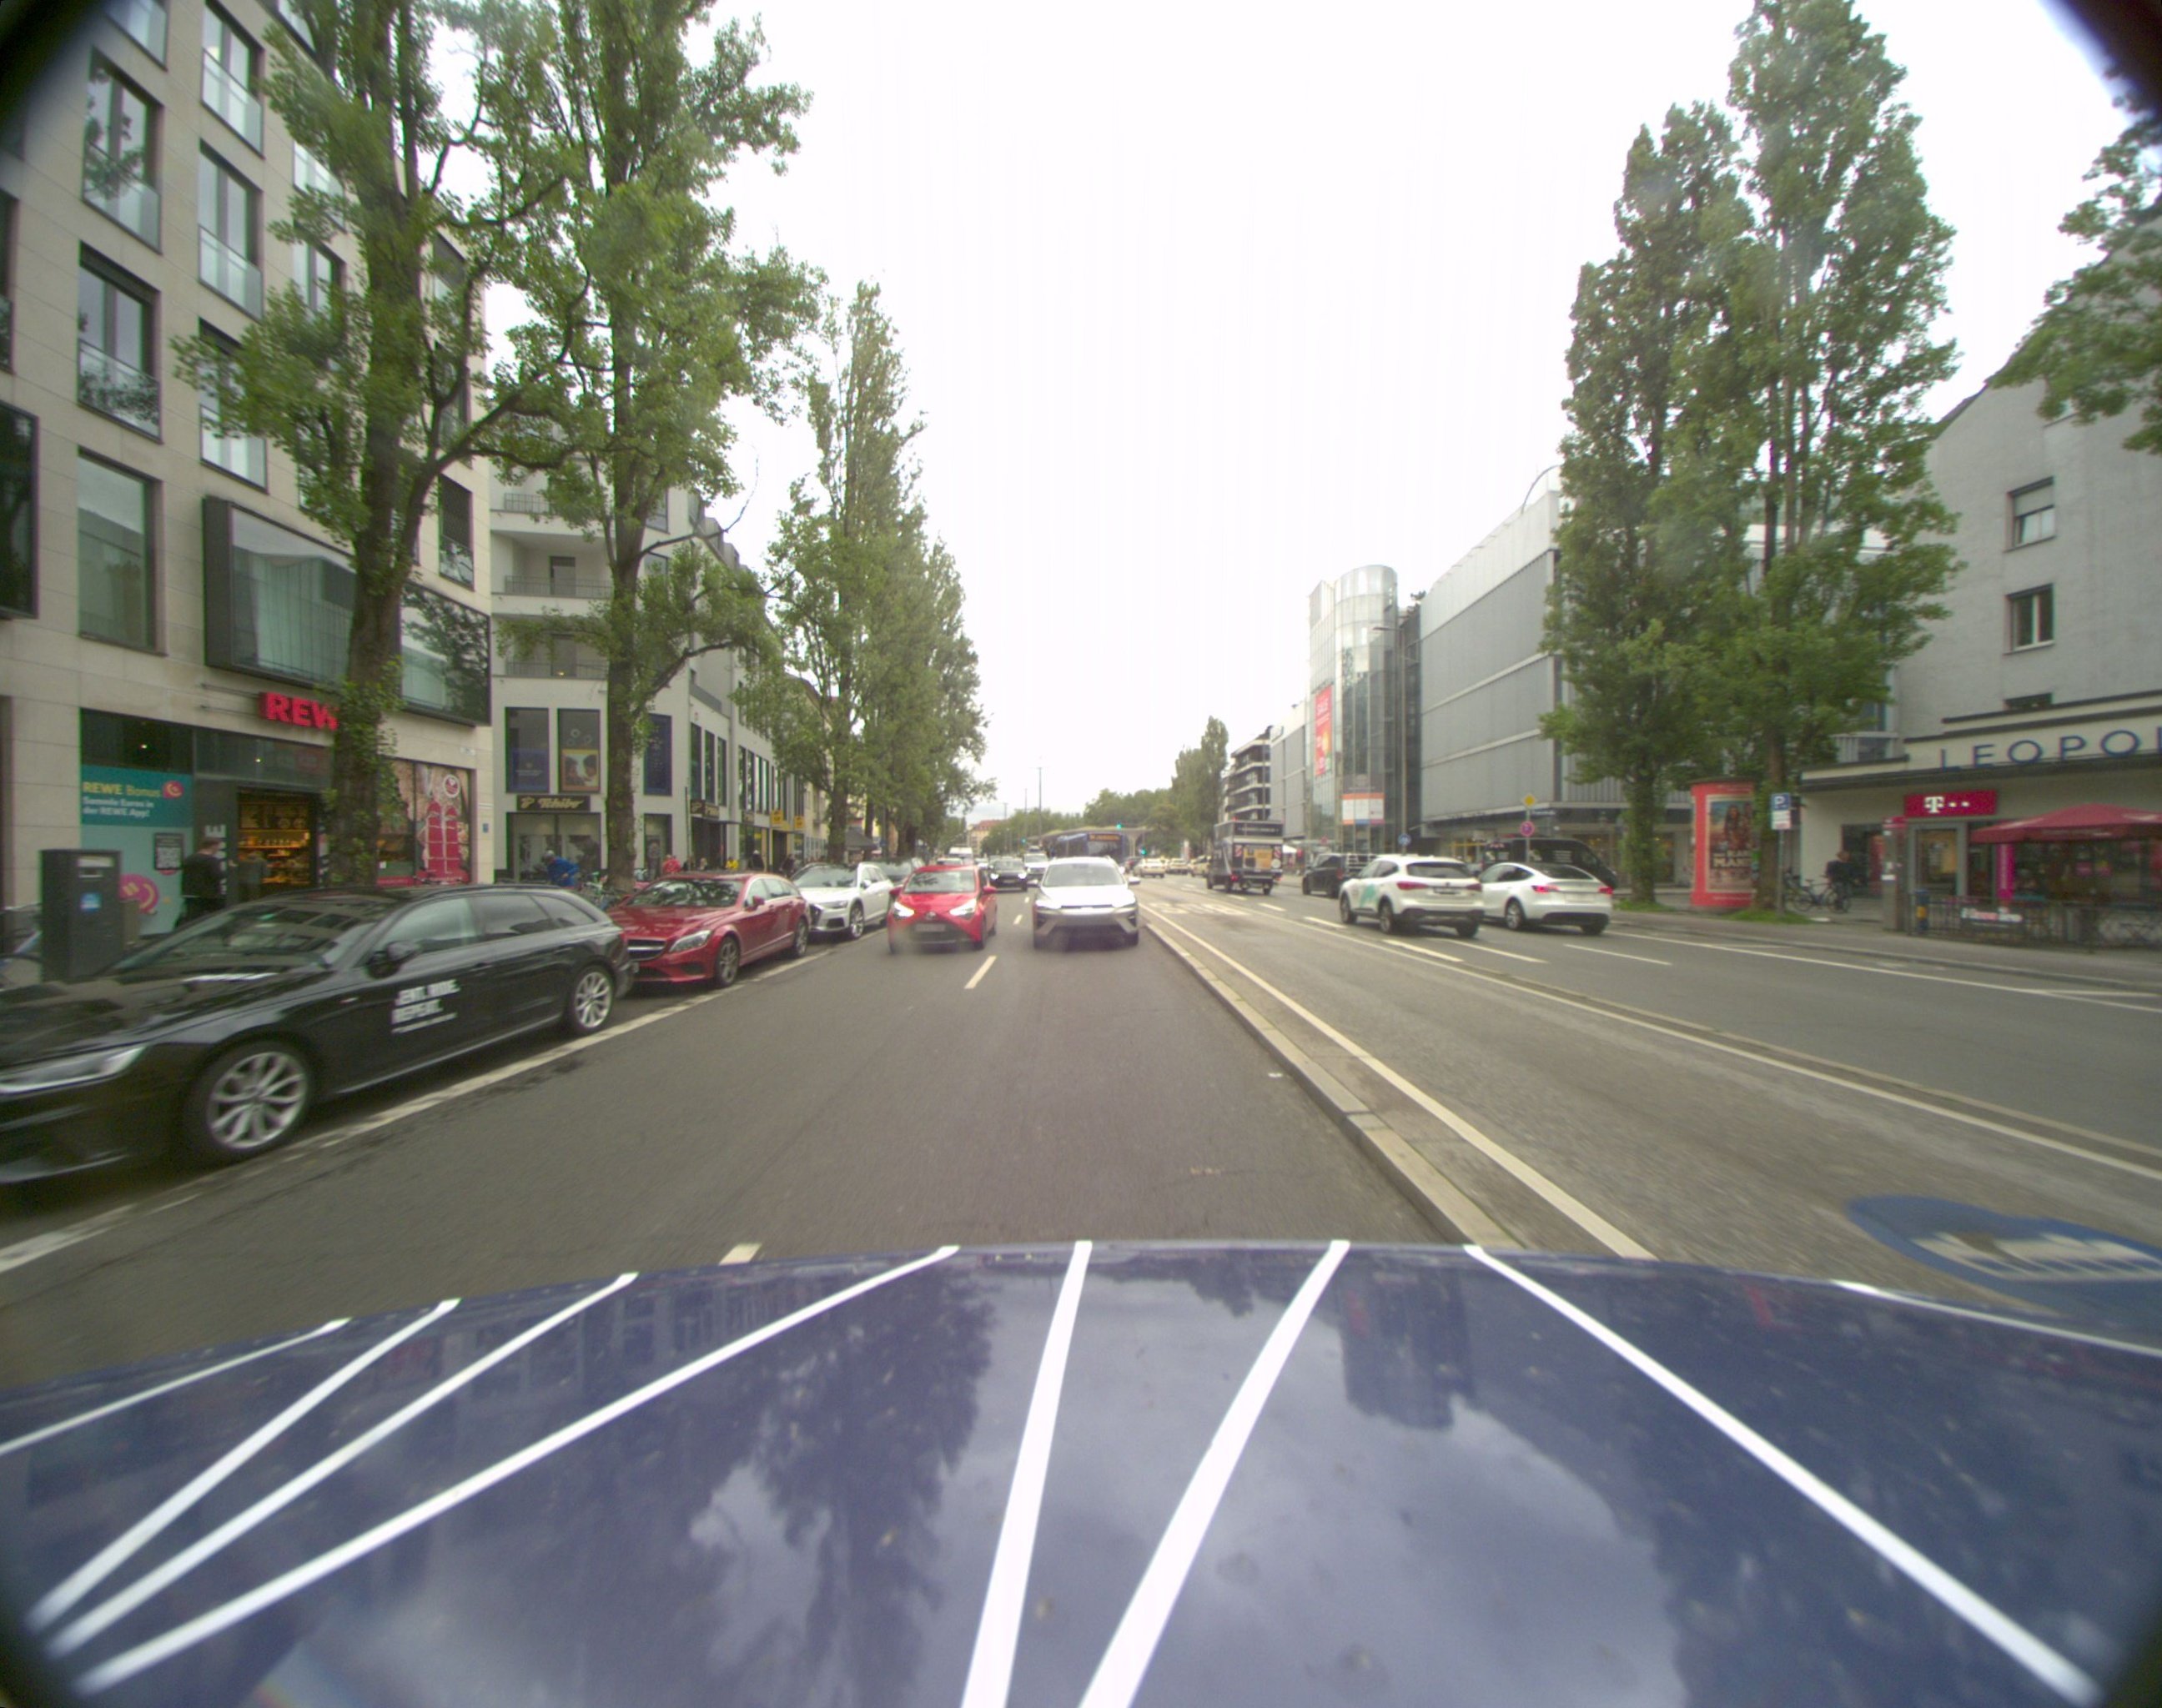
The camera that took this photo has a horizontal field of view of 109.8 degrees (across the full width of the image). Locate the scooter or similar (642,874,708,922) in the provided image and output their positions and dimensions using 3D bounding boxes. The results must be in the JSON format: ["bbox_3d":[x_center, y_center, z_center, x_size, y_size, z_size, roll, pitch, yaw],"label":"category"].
[{"bbox_3d":[-10.110,1.095,18.949,1.439,1.194,0.311,0,0,-6],"label":"scooter or similar"}]

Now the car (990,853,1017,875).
[{"bbox_3d":[-6.789,0.858,66.071,2.000,1.740,3.996,-2,1,-9],"label":"car"}]

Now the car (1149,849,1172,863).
[{"bbox_3d":[9.558,0.227,91.454,1.592,1.602,4.472,0,0,-10],"label":"car"}]

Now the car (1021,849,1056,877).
[{"bbox_3d":[-3.061,0.586,54.041,2.000,1.889,4.231,-2,1,-9],"label":"car"}]

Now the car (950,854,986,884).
[{"bbox_3d":[-7.338,0.924,49.682,1.935,1.794,4.777,-2,0,-5],"label":"car"}]

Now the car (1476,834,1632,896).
[{"bbox_3d":[20.851,0.473,33.572,6.066,2.590,2.174,0,0,-13],"label":"car"}]

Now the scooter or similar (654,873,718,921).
[{"bbox_3d":[-9.979,1.088,19.212,1.439,1.194,0.311,0,0,-6],"label":"scooter or similar"}]

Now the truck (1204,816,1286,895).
[{"bbox_3d":[7.522,0.066,35.727,2.297,3.303,7.157,1,0,0],"label":"truck"}]

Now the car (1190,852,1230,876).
[{"bbox_3d":[11.351,0.847,67.311,2.000,2.002,5.318,1,0,-7],"label":"car"}]

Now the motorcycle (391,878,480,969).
[{"bbox_3d":[-10.729,1.106,12.682,0.688,1.348,1.640,0,0,-24],"label":"motorcycle"}]

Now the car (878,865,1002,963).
[{"bbox_3d":[-2.468,0.996,14.106,1.669,1.438,3.595,-2,1,-1],"label":"car"}]

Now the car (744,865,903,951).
[{"bbox_3d":[-5.287,1.030,16.332,1.815,1.491,4.805,1,0,-1],"label":"car"}]

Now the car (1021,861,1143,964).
[{"bbox_3d":[-0.115,0.939,13.958,1.897,1.483,3.998,-2,1,-4],"label":"car"}]

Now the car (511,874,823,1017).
[{"bbox_3d":[-5.351,1.063,10.740,1.936,1.441,4.803,0,0,-2],"label":"car"}]

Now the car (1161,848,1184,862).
[{"bbox_3d":[10.134,0.100,84.171,1.951,1.531,4.847,0,0,0],"label":"car"}]

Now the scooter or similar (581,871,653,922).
[{"bbox_3d":[-11.101,1.010,18.207,1.388,1.204,0.554,0,1,1],"label":"scooter or similar"}]

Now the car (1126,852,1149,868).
[{"bbox_3d":[6.217,0.667,84.727,2.024,1.706,4.981,0,0,-2],"label":"car"}]

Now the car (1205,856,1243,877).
[{"bbox_3d":[11.598,0.984,61.813,1.983,1.543,5.084,0,0,-2],"label":"car"}]

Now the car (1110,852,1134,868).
[{"bbox_3d":[4.185,0.637,77.718,1.915,1.593,4.353,0,0,-3],"label":"car"}]

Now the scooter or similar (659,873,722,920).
[{"bbox_3d":[-10.023,1.092,19.529,1.439,1.194,0.311,0,0,-6],"label":"scooter or similar"}]

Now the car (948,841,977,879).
[{"bbox_3d":[-9.085,0.380,58.496,2.000,2.726,5.550,-2,1,-8],"label":"car"}]

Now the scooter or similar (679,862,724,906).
[{"bbox_3d":[-10.525,0.827,21.107,1.053,1.219,0.379,0,0,-5],"label":"scooter or similar"}]

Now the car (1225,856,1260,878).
[{"bbox_3d":[11.694,0.912,55.330,1.860,1.461,4.984,2,0,6],"label":"car"}]

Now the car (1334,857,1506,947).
[{"bbox_3d":[7.310,0.936,16.973,1.865,1.701,4.536,1,0,1],"label":"car"}]

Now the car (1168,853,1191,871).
[{"bbox_3d":[10.083,0.819,78.046,1.890,1.688,4.383,1,0,1],"label":"car"}]

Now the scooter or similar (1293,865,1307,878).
[{"bbox_3d":[19.748,1.609,68.619,0.368,1.133,1.378,0,0,-29],"label":"scooter or similar"}]

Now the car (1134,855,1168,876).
[{"bbox_3d":[5.764,0.918,62.850,1.999,1.579,5.193,2,0,-3],"label":"car"}]

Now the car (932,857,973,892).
[{"bbox_3d":[-6.517,0.997,38.865,1.732,1.676,4.406,-1,0,-6],"label":"car"}]

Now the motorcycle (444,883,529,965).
[{"bbox_3d":[-9.519,1.081,12.226,0.688,1.149,1.640,0,0,-24],"label":"motorcycle"}]

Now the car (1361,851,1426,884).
[{"bbox_3d":[19.768,0.834,48.341,1.998,2.002,5.112,0,0,0],"label":"car"}]
